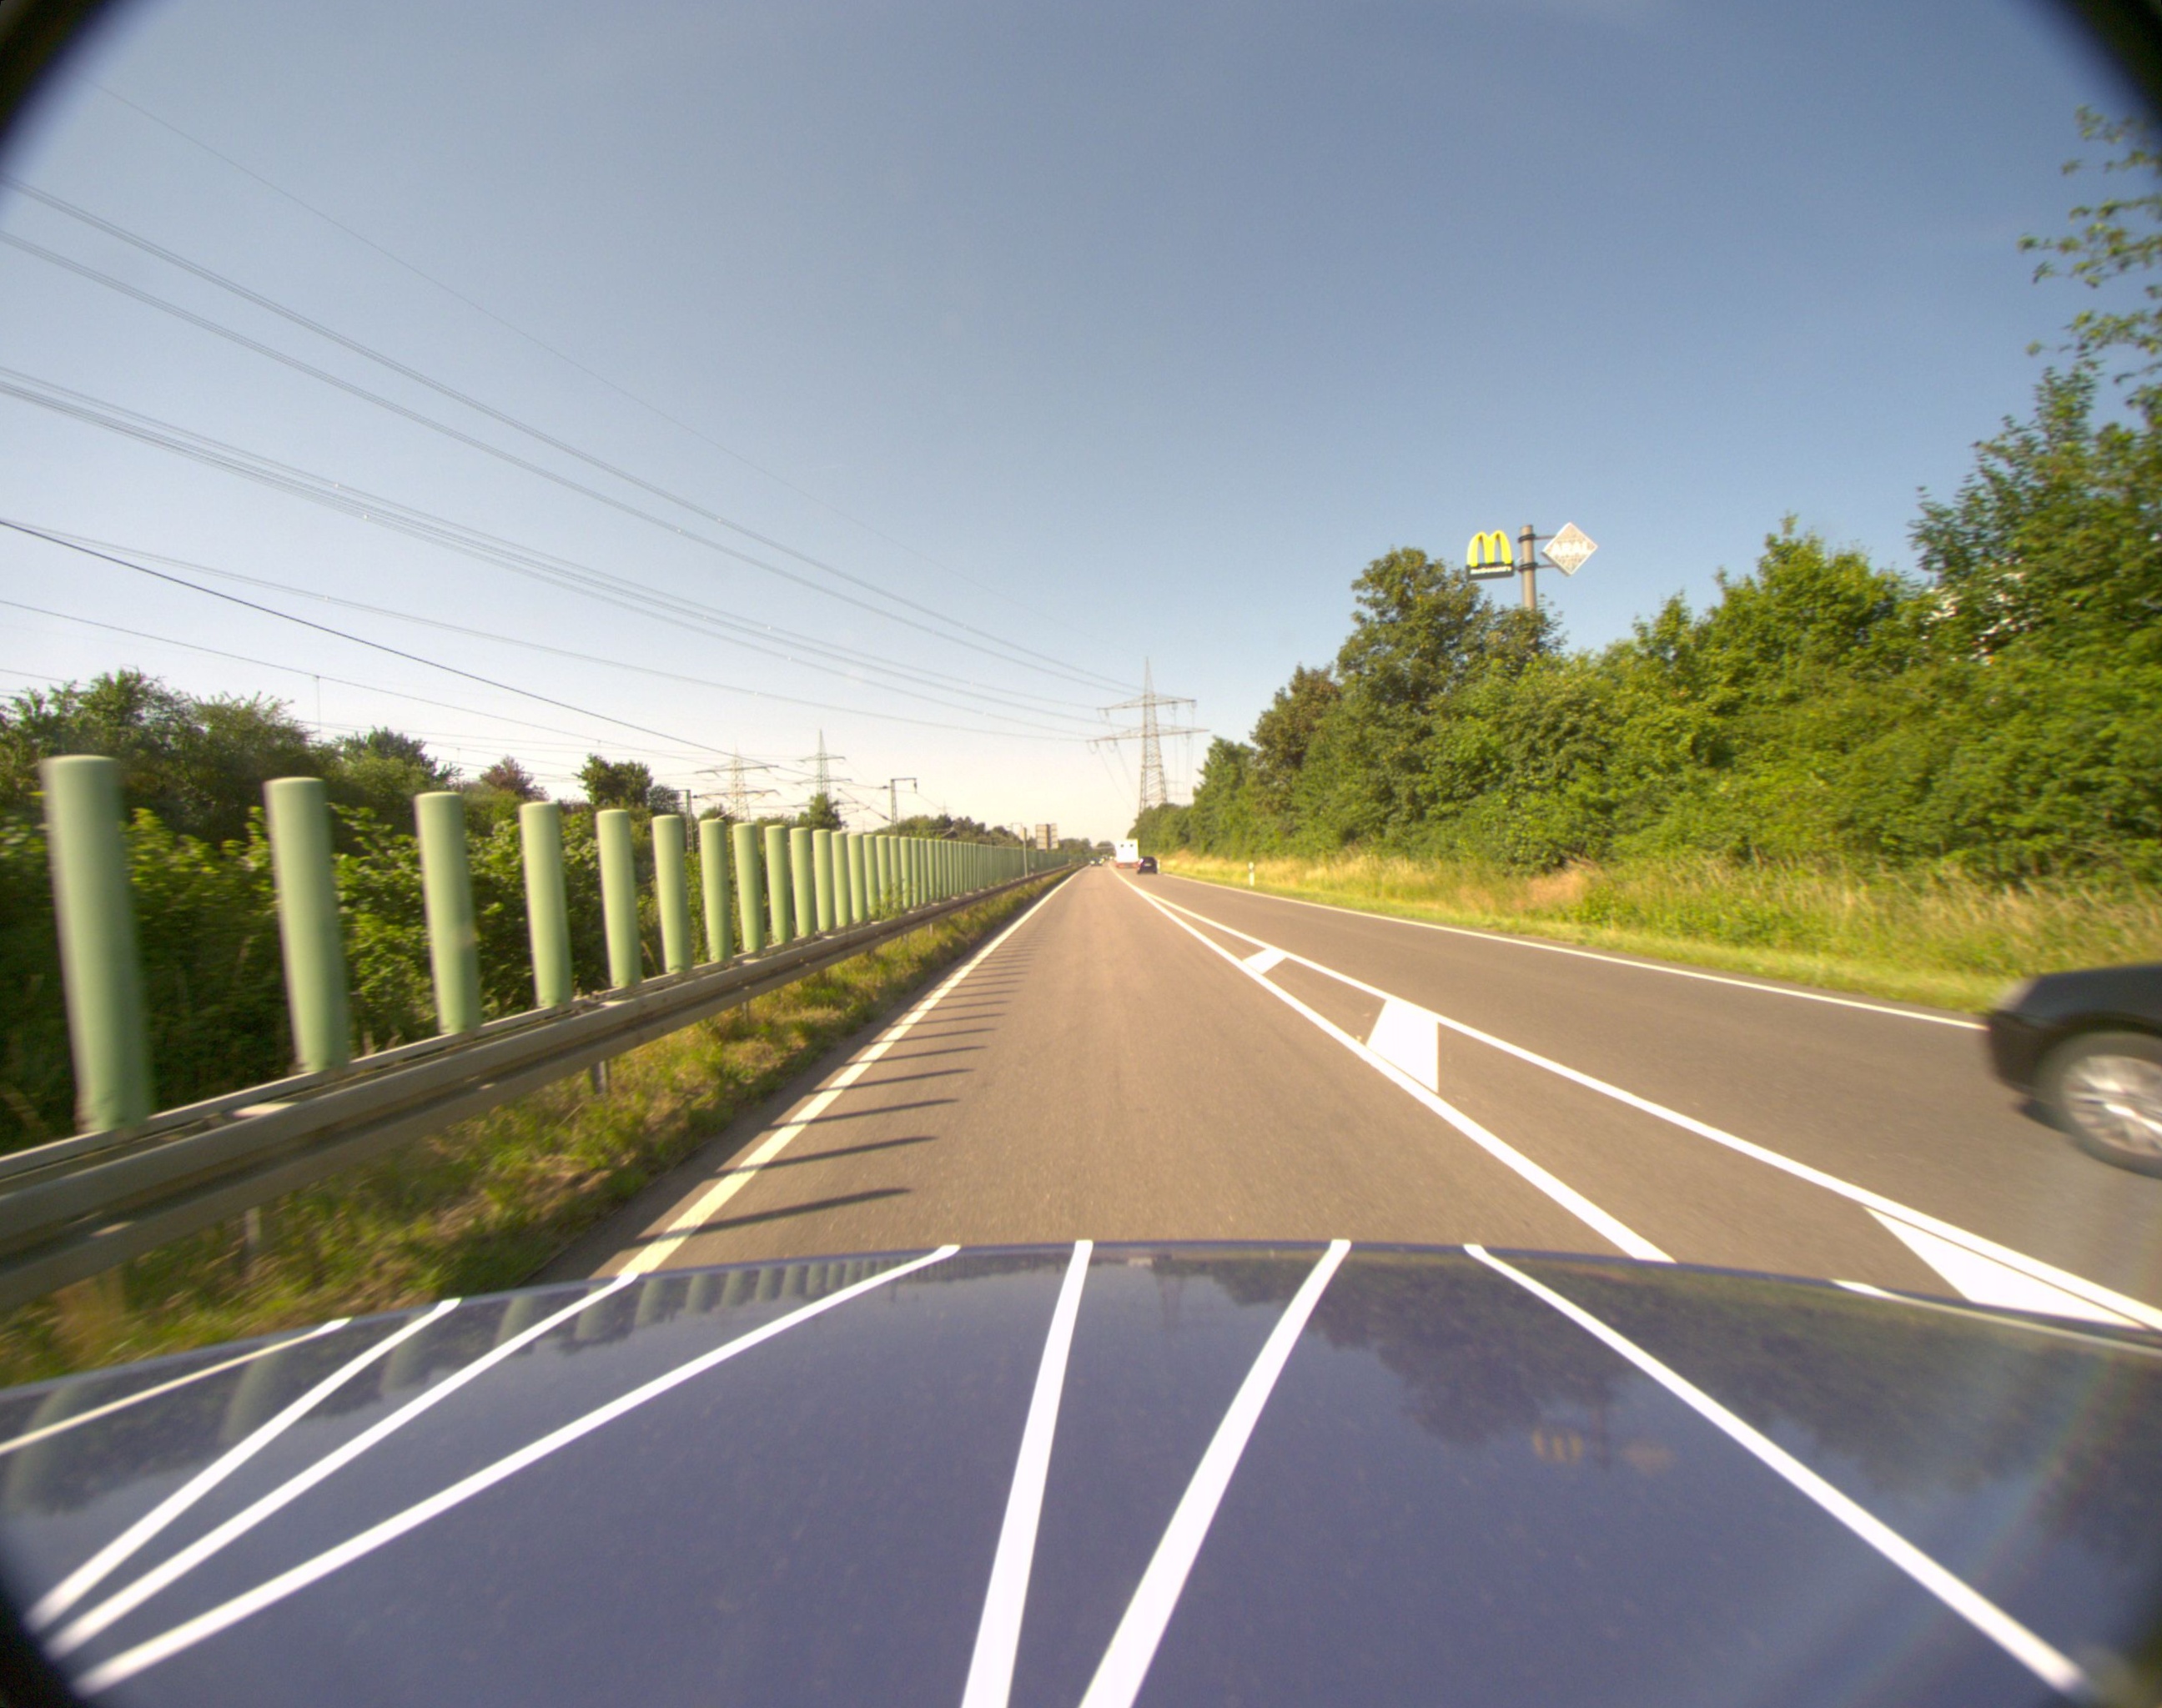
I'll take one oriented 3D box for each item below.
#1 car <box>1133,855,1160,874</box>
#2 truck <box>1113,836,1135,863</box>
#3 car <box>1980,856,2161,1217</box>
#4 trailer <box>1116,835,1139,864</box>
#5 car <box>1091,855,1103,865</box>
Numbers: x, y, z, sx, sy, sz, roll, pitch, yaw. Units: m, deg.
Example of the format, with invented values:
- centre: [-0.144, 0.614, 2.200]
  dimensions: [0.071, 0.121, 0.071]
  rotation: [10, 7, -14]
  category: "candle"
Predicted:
- centre: [5.582, 0.845, 65.104]
  dimensions: [1.861, 1.550, 4.000]
  rotation: [-1, 0, 0]
  category: "car"
- centre: [6.160, -0.648, 109.545]
  dimensions: [2.566, 3.667, 10.487]
  rotation: [-2, 0, 1]
  category: "truck"
- centre: [5.382, 0.751, 1.788]
  dimensions: [1.754, 1.473, 3.999]
  rotation: [-2, 0, -1]
  category: "car"
- centre: [6.058, -0.610, 100.170]
  dimensions: [2.566, 3.574, 8.292]
  rotation: [-2, 0, 1]
  category: "trailer"
- centre: [2.647, 0.905, 123.522]
  dimensions: [1.786, 1.550, 4.001]
  rotation: [-1, 0, 3]
  category: "car"
